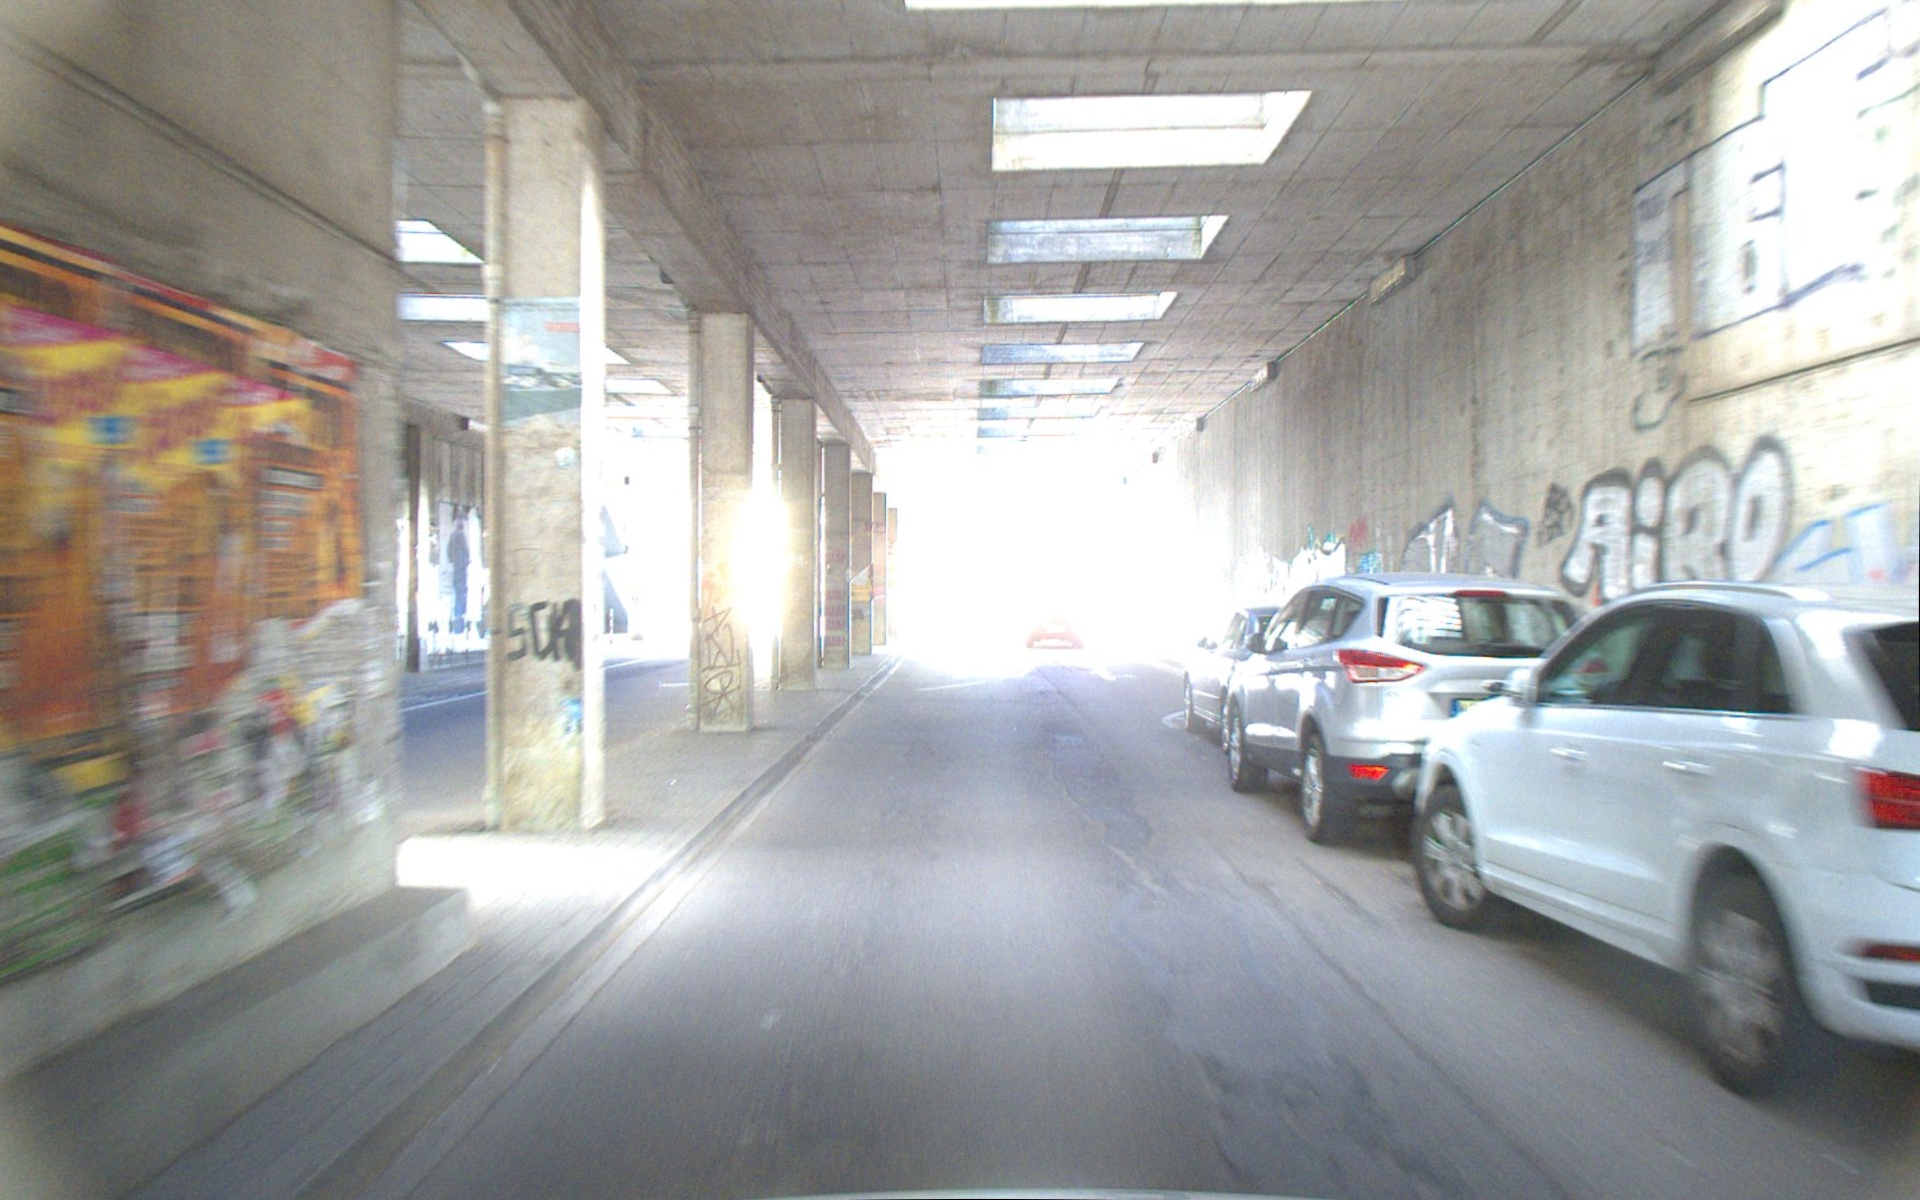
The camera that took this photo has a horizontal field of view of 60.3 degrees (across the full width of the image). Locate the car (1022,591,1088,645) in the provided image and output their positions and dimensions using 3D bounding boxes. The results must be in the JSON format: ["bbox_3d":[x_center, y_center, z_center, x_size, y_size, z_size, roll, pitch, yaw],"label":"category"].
[{"bbox_3d":[2.808,0.498,49.707,1.788,1.527,4.211,-1,0,1],"label":"car"}]

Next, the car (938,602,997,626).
[{"bbox_3d":[0.539,0.962,112.750,3.903,1.601,1.640,0,0,4],"label":"car"}]

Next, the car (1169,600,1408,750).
[{"bbox_3d":[3.376,0.704,17.797,1.666,1.398,4.373,0,0,-1],"label":"car"}]

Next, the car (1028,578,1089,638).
[{"bbox_3d":[3.320,0.241,56.290,1.778,1.915,4.585,-1,0,0],"label":"car"}]

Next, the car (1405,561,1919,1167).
[{"bbox_3d":[3.221,0.686,6.352,1.695,1.573,4.153,-1,0,-3],"label":"car"}]

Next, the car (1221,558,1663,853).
[{"bbox_3d":[3.110,0.575,11.669,1.815,1.695,4.370,0,1,-1],"label":"car"}]
